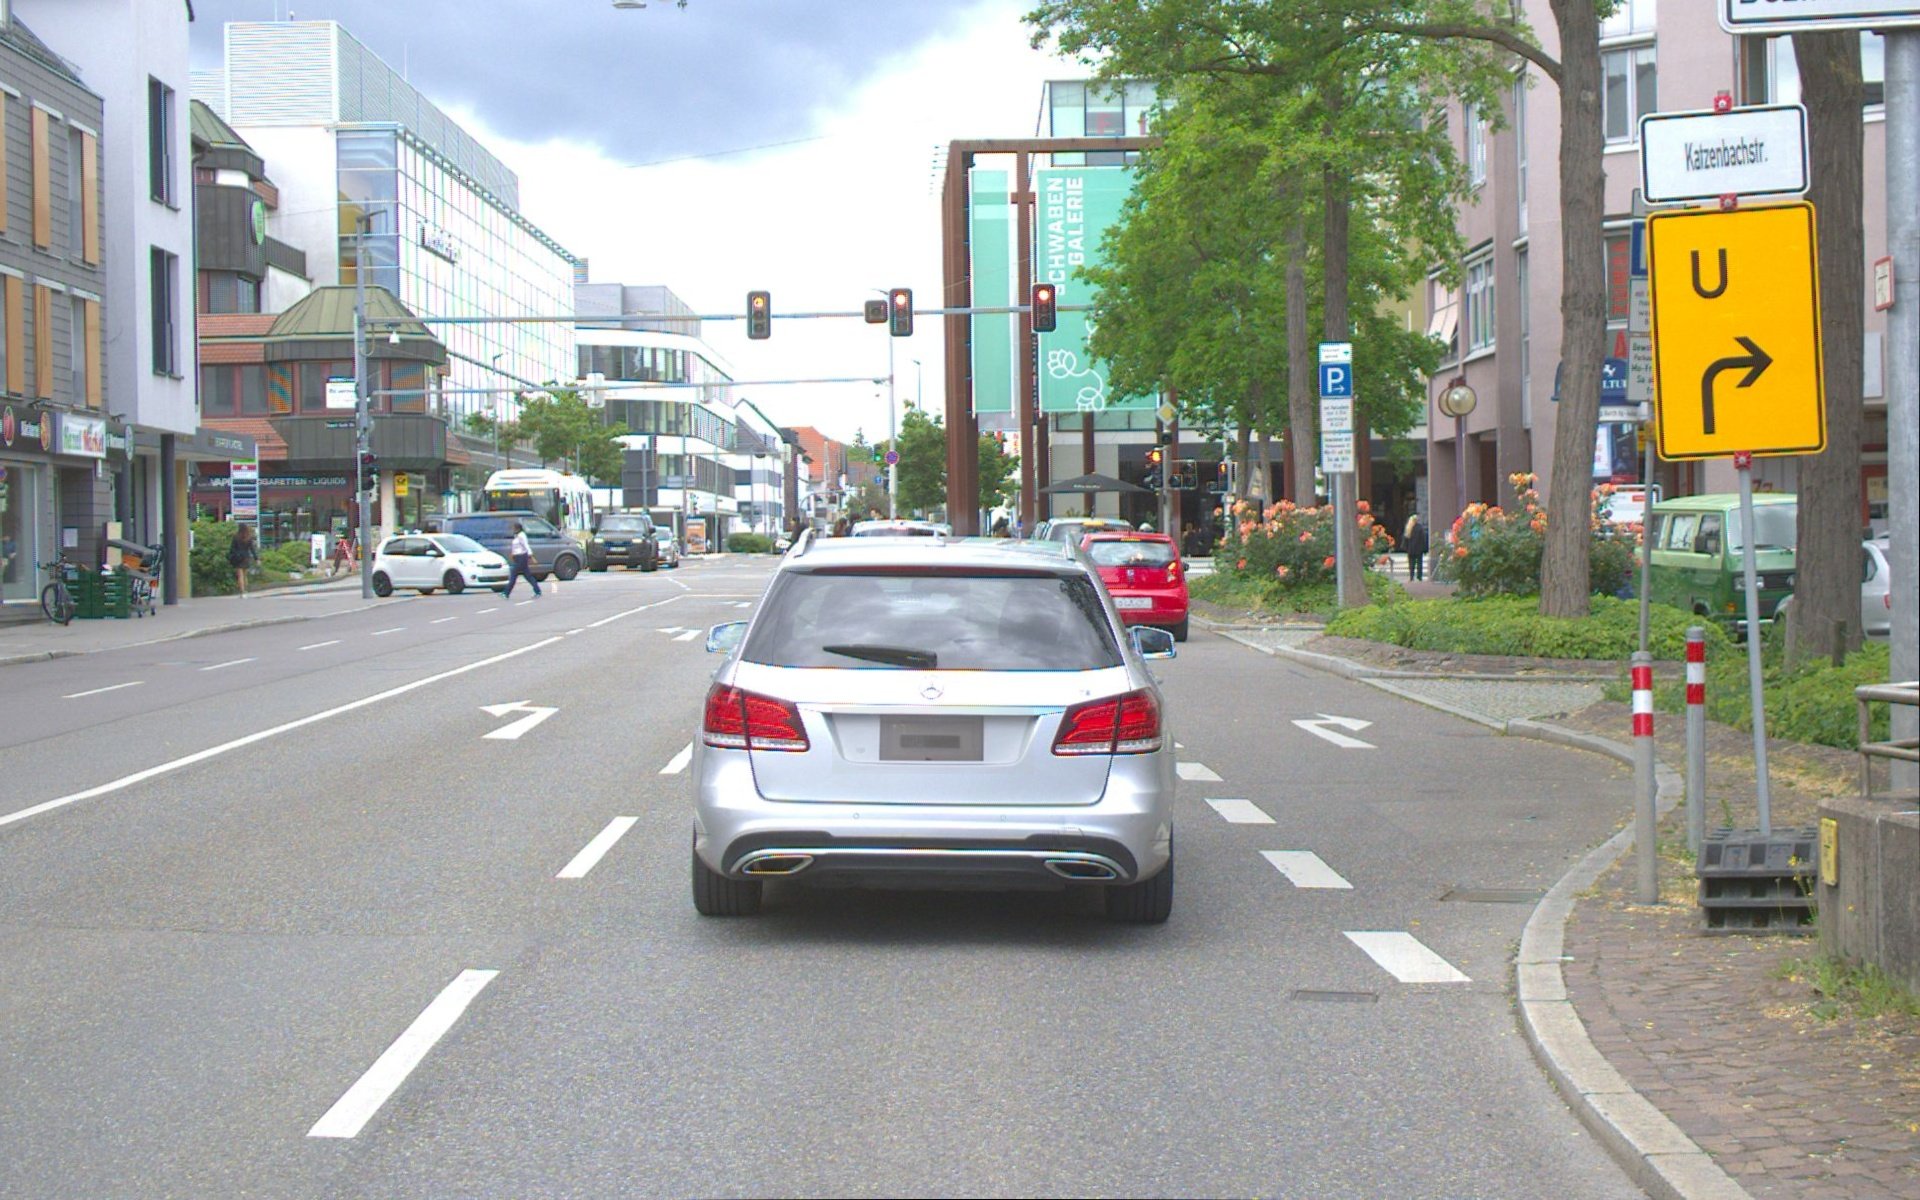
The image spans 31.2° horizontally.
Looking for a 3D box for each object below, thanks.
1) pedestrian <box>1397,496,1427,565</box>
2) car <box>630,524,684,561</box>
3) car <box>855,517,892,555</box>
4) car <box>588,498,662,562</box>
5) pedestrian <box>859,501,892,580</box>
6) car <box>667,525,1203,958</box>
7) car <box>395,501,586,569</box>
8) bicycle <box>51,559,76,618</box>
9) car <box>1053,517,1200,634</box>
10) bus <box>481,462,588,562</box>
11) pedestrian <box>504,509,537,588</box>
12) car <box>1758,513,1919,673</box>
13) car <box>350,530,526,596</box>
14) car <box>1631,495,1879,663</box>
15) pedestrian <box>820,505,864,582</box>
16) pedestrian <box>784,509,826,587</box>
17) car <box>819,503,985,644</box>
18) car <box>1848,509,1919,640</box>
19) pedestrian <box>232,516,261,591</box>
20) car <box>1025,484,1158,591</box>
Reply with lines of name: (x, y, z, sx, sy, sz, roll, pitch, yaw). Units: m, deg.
pedestrian: (10.960, -1.685, 83.362, 0.613, 1.629, 0.587, 2, 2, 12)
car: (-10.574, -2.032, 120.088, 1.575, 1.240, 3.607, -1, 1, 0)
car: (-4.740, -3.525, 188.687, 1.993, 2.006, 4.001, -1, 2, -1)
car: (-10.853, -2.272, 111.634, 1.993, 2.007, 4.000, -1, 1, 0)
pedestrian: (-1.776, -1.247, 72.157, 0.613, 1.629, 0.588, 2, 2, -4)
car: (-0.180, 0.450, 14.057, 1.874, 1.501, 4.001, 0, 1, -3)
car: (-13.198, -1.848, 96.668, 4.908, 1.816, 2.000, -2, 2, -29)
bicycle: (-14.015, -0.183, 53.753, 0.273, 0.888, 1.229, -1, 1, -10)
car: (2.275, -0.362, 47.751, 1.754, 1.515, 4.000, -1, 1, -1)
bus: (-13.901, -2.895, 112.752, 2.775, 3.154, 5.933, -1, 1, 0)
pedestrian: (-9.171, -1.076, 71.690, 0.613, 1.629, 0.588, 2, 2, -9)
car: (9.719, -0.118, 35.370, 1.866, 1.522, 4.001, -1, 1, -3)
car: (-12.476, -0.884, 82.050, 3.994, 1.525, 1.664, 0, 2, 31)
car: (9.337, -0.289, 40.684, 1.866, 1.858, 4.001, -1, 1, -2)
pedestrian: (-2.549, -1.222, 74.450, 0.857, 1.629, 0.588, 2, 2, 1)
pedestrian: (-3.320, -1.121, 73.613, 0.833, 1.629, 0.588, 2, 2, -4)
car: (-0.721, -0.372, 43.658, 1.993, 1.678, 4.000, -1, 1, -1)
car: (12.079, -0.322, 40.767, 1.866, 1.522, 4.001, -1, 1, -3)
pedestrian: (-16.201, -1.054, 78.039, 0.586, 1.664, 0.642, 2, 2, -14)
car: (2.145, -1.053, 57.134, 1.993, 1.678, 4.000, -1, 1, -1)
